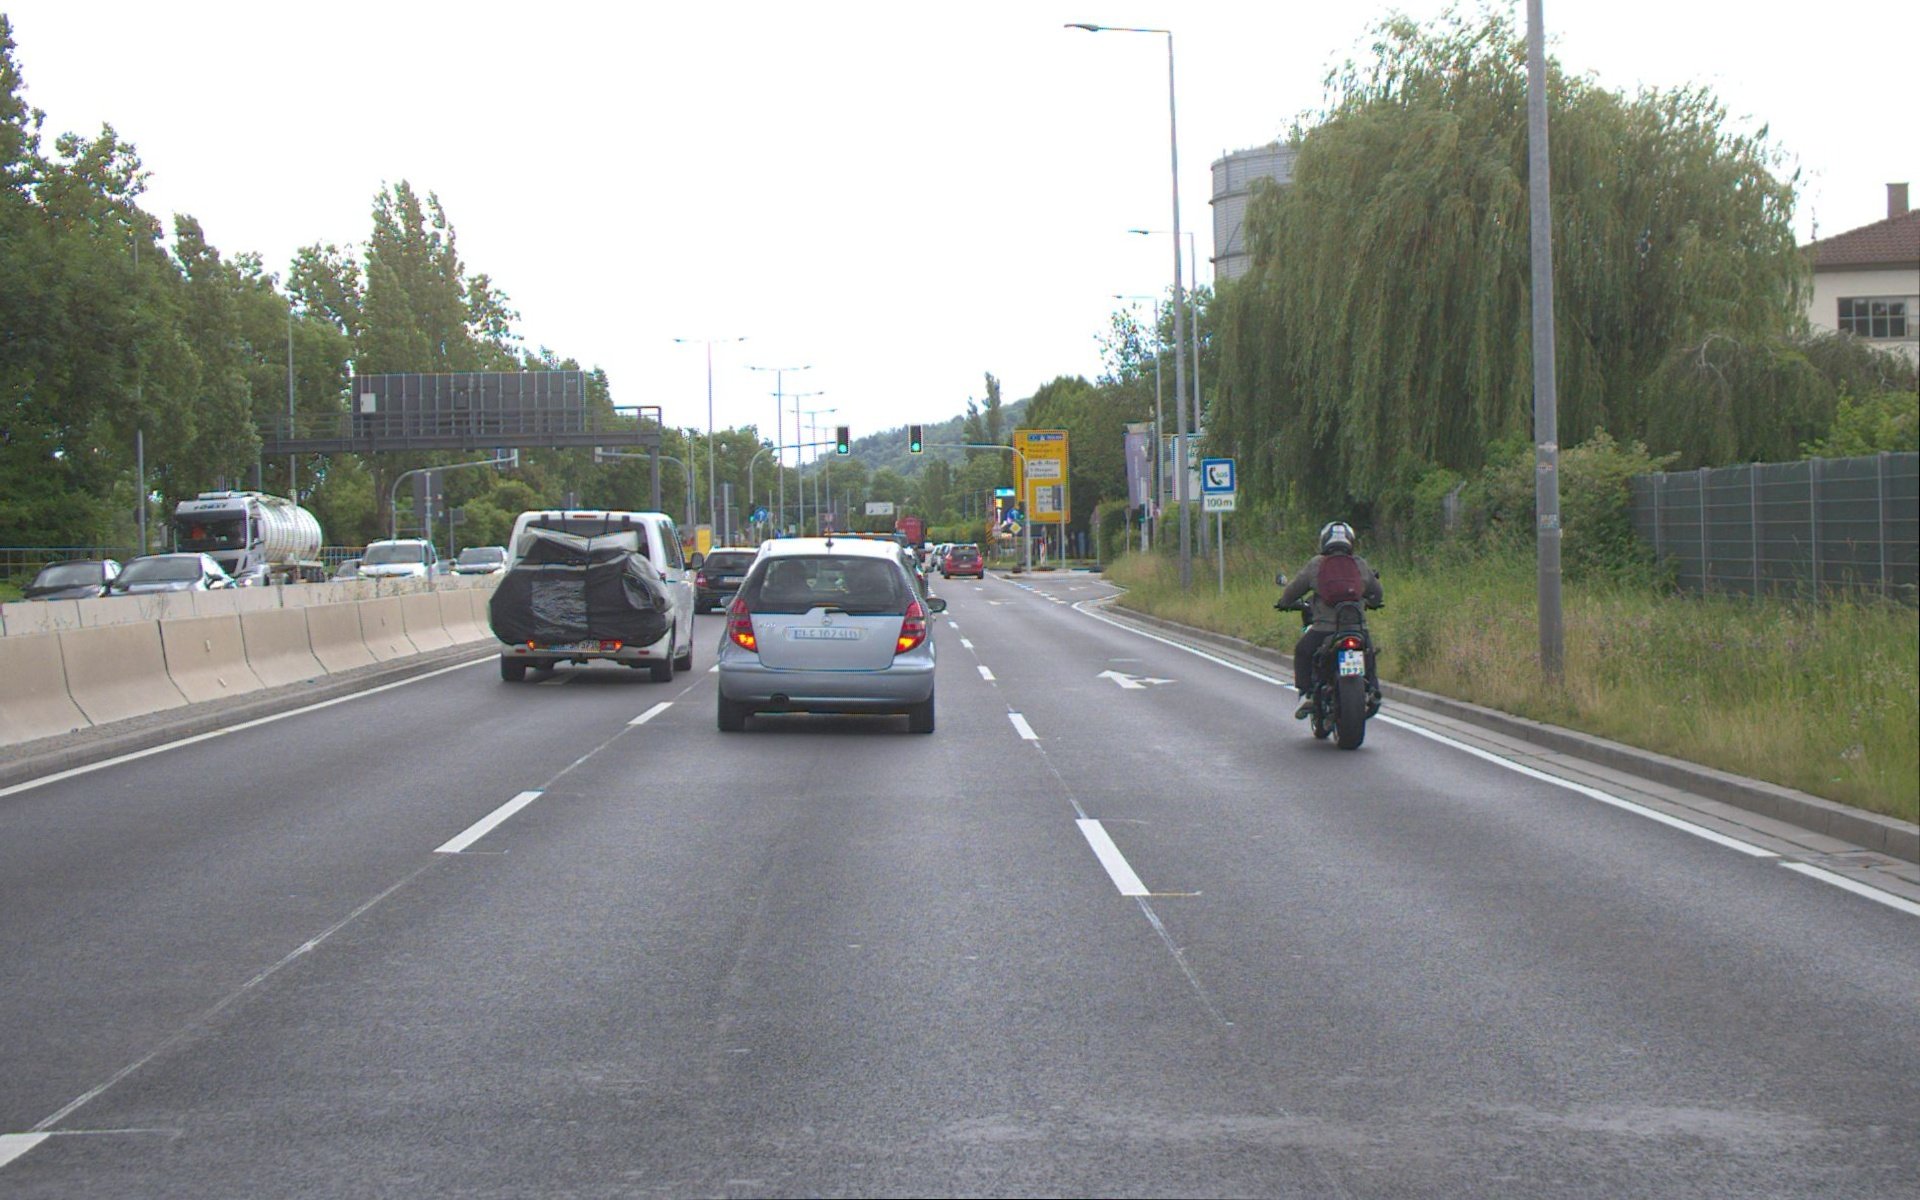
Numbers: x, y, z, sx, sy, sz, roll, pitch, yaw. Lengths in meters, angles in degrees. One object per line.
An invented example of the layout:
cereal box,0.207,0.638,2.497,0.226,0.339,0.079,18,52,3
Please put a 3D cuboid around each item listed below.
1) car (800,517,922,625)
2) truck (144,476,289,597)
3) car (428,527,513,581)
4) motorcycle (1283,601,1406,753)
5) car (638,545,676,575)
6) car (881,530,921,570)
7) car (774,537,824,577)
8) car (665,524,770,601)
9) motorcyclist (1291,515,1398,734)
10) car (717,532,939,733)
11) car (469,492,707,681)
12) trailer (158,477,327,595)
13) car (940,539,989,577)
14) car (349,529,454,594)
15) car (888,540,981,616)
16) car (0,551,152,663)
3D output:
car,-1.612,-0.511,57.058,1.907,1.678,4.000,1,1,0
truck,-20.781,-1.793,96.351,3.098,3.208,5.392,1,1,-3
car,-15.296,-1.455,107.555,1.993,1.612,4.697,1,1,0
motorcycle,2.868,0.557,25.822,0.706,1.036,2.027,1,1,1
car,-17.941,-2.363,203.758,1.878,1.677,4.126,1,1,-1
car,-3.092,-2.638,180.358,1.993,2.007,4.000,1,1,0
car,-6.680,-1.802,142.803,1.993,1.546,4.001,1,1,-2
car,-5.128,-0.811,73.029,1.993,1.546,4.000,1,1,-1
motorcyclist,2.876,0.171,25.800,0.685,1.604,0.845,1,1,1
car,-1.076,0.217,28.979,1.710,1.525,4.000,1,1,-1
car,-4.040,-0.196,38.144,2.214,1.919,5.003,1,1,-2
trailer,-21.063,-1.922,101.638,3.100,3.209,11.670,1,1,-3
car,0.176,-1.841,149.147,1.993,1.546,4.001,1,1,-2
car,-14.625,-1.026,90.198,1.993,1.612,4.697,1,1,0
car,-0.545,-0.472,71.031,1.840,1.459,4.000,1,1,-1
car,-17.010,0.097,66.136,1.993,2.007,4.000,1,1,-1
